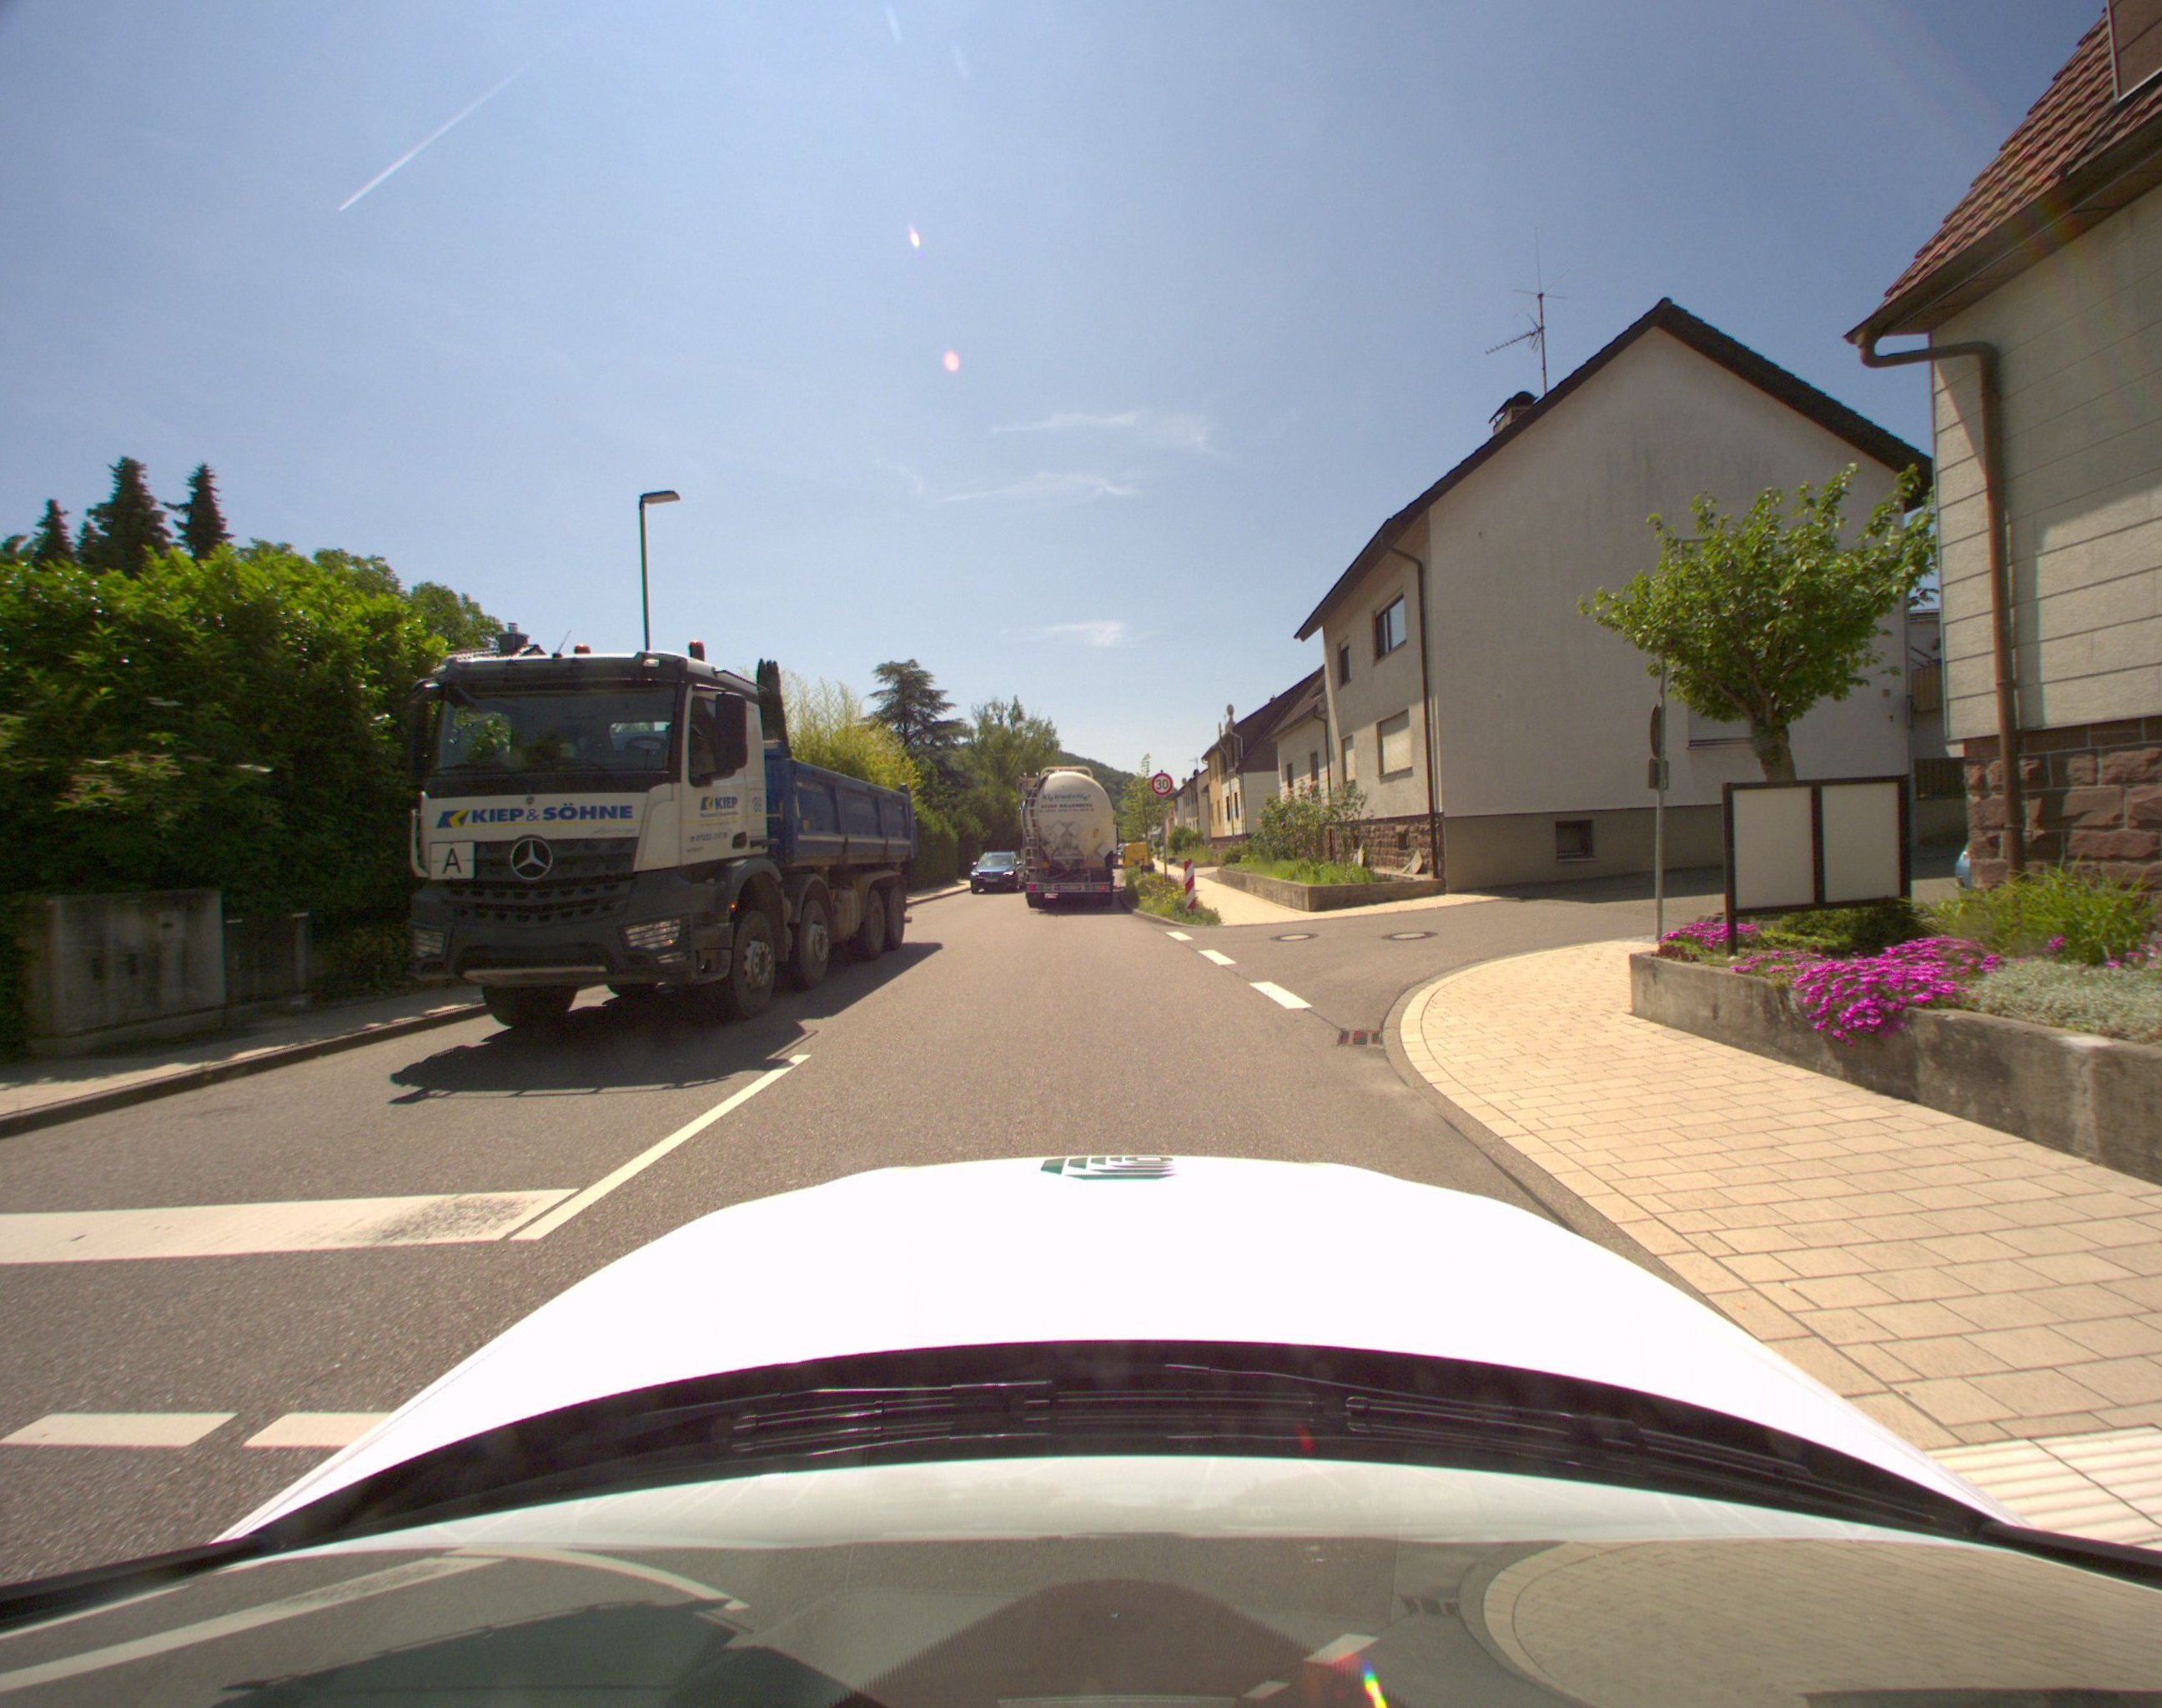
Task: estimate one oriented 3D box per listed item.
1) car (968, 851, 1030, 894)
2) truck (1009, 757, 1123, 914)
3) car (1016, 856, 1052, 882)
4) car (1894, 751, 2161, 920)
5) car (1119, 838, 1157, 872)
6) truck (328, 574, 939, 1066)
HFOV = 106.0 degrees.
[{"bbox_3d":[-3.299,0.737,33.790,1.880,1.645,4.616,-1,-1,3],"label":"car"},{"bbox_3d":[-0.119,-0.525,26.835,2.738,4.056,10.900,-2,0,4],"label":"truck"},{"bbox_3d":[-2.687,0.849,47.462,1.760,1.402,4.248,-1,-1,1],"label":"car"},{"bbox_3d":[11.089,-0.303,8.341,3.498,1.492,1.802,-6,-1,4],"label":"car"},{"bbox_3d":[3.854,0.098,55.744,2.181,2.013,5.625,-7,-1,2],"label":"car"},{"bbox_3d":[-4.300,-0.270,10.708,2.530,3.738,8.633,-3,0,5],"label":"truck"}]
